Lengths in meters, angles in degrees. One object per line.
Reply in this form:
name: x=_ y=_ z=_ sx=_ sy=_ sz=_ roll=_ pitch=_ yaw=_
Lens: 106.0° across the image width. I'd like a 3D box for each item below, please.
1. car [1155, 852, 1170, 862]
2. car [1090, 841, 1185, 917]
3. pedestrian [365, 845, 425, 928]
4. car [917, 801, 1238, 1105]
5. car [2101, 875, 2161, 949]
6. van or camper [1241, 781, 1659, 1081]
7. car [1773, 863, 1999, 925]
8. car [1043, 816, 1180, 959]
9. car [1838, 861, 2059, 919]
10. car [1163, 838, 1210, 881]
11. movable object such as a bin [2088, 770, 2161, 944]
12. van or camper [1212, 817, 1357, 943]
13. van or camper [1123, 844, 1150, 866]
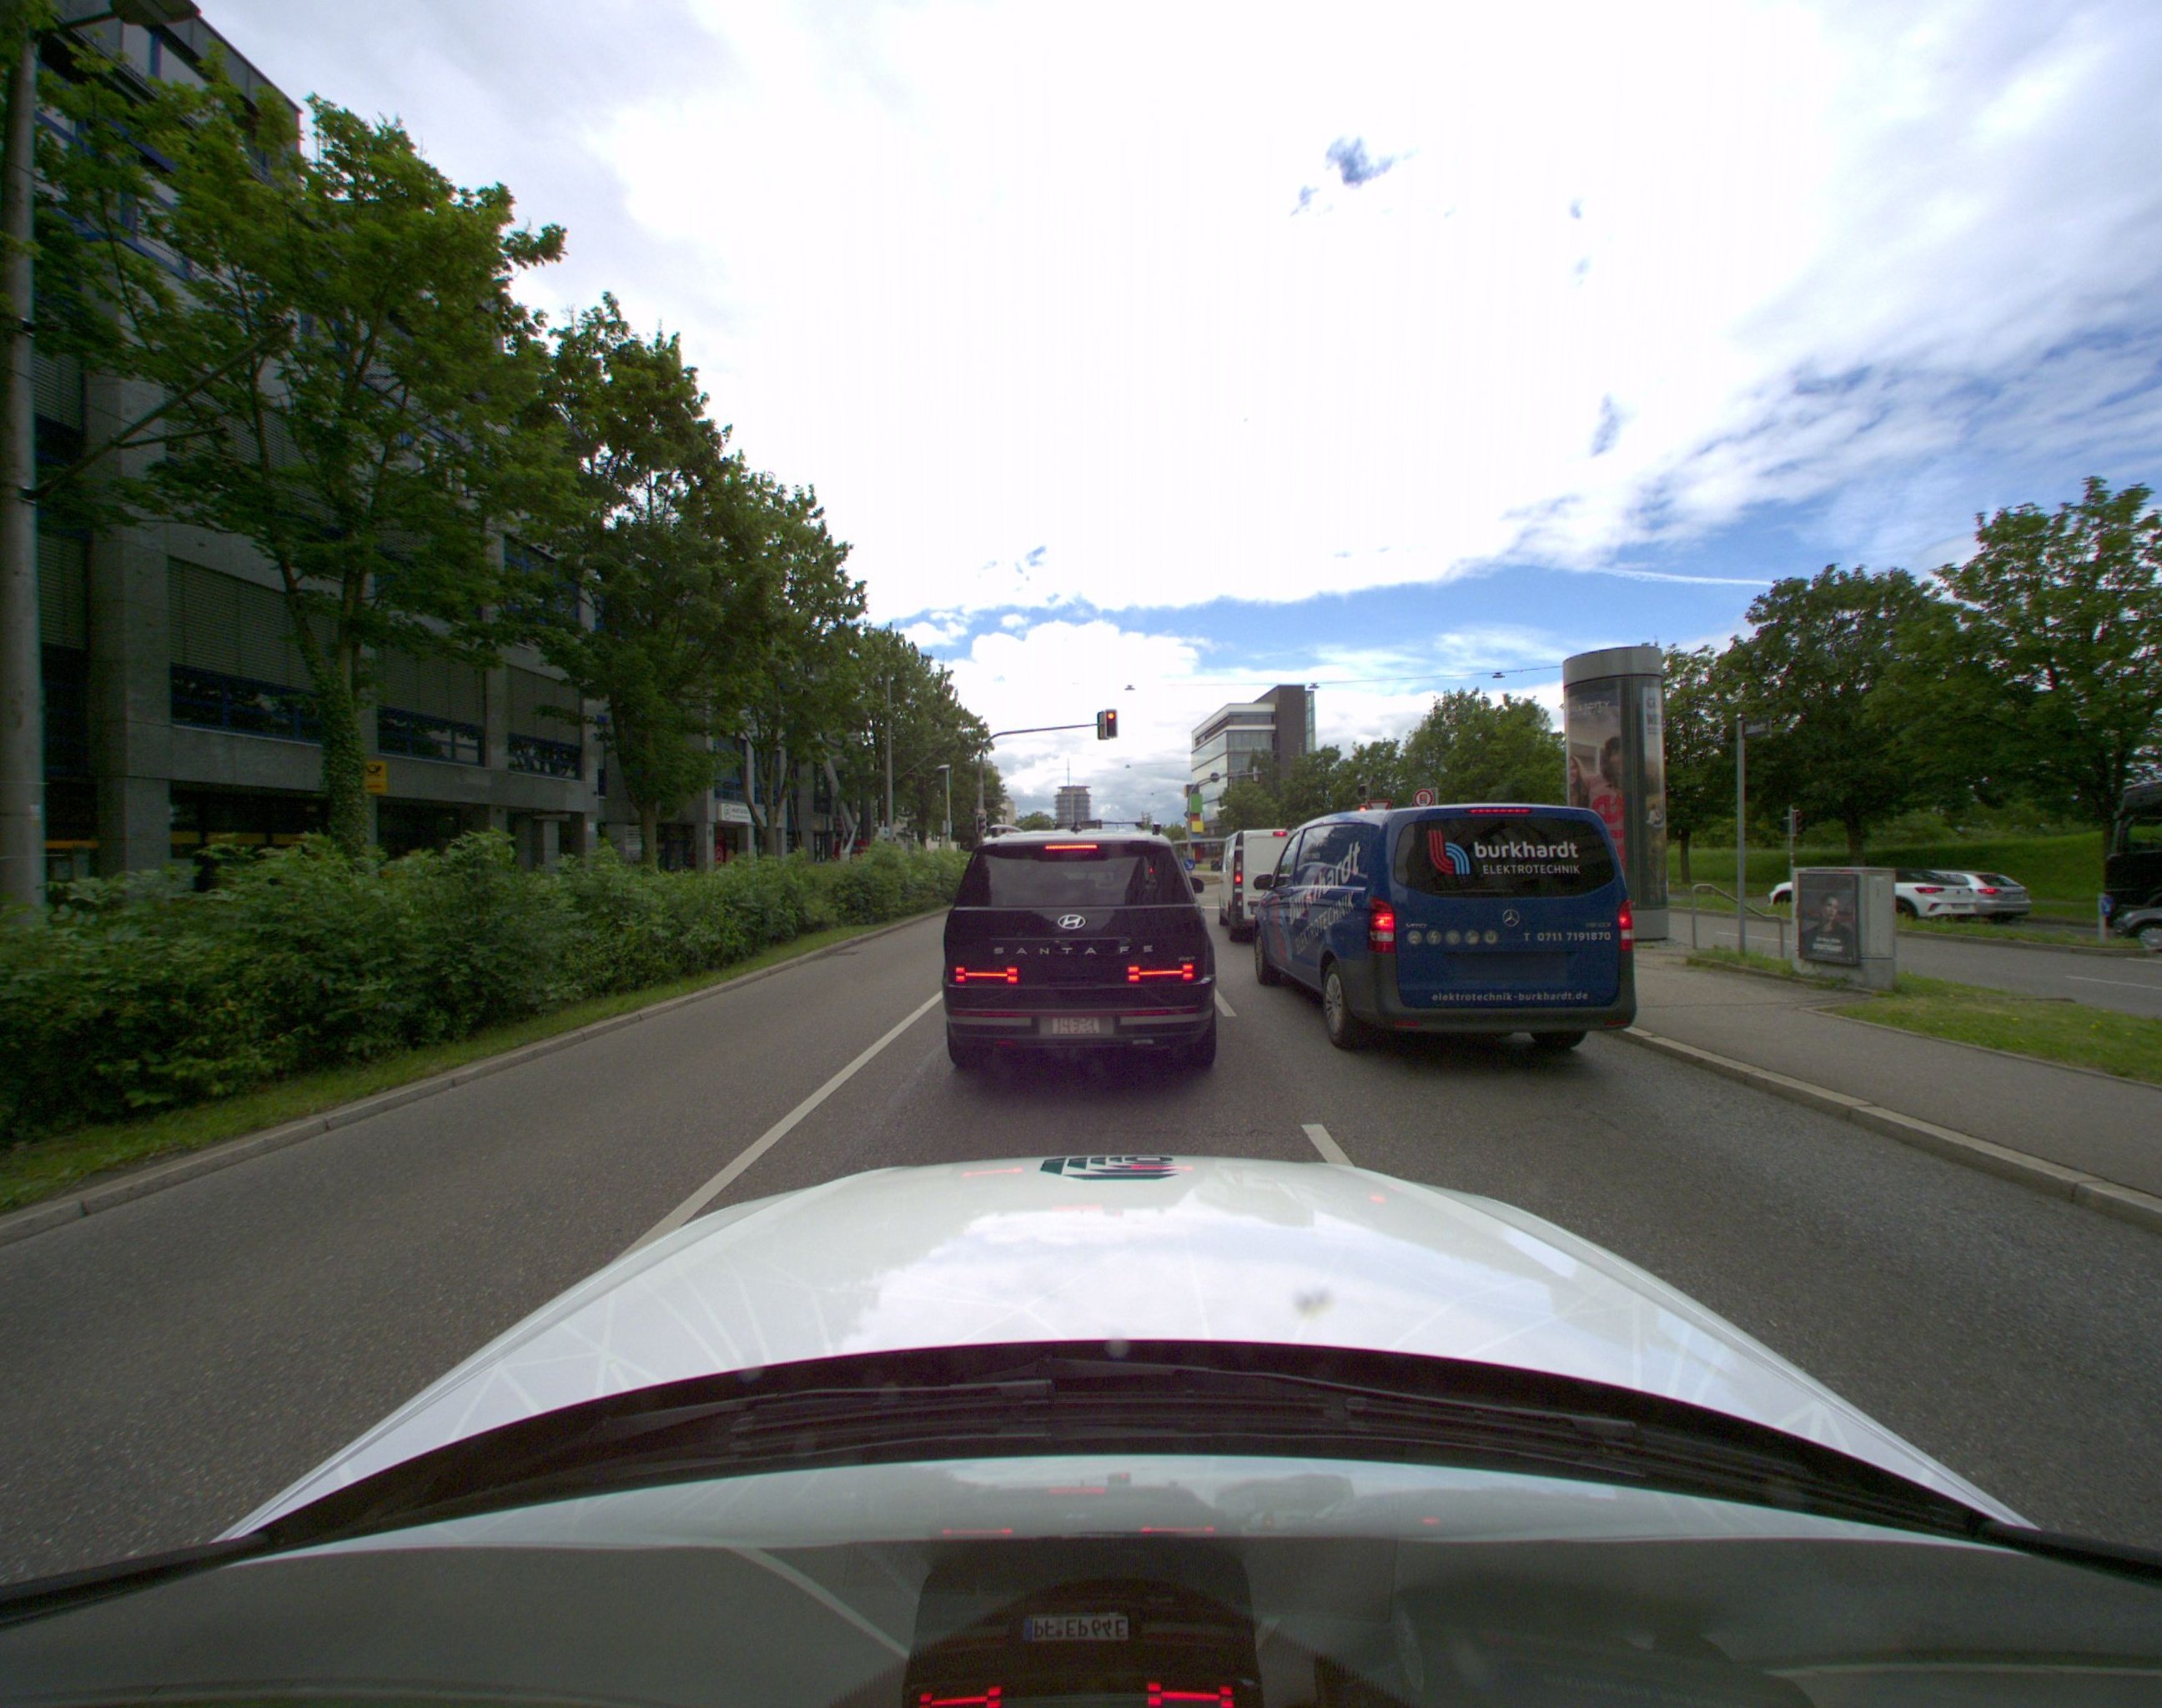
car: x=13.179 y=0.512 z=131.717 sx=1.987 sy=1.684 sz=3.998 roll=-1 pitch=-1 yaw=-1
car: x=1.542 y=0.589 z=20.518 sx=1.764 sy=1.717 sz=4.353 roll=-1 pitch=-1 yaw=12
pedestrian: x=-16.173 y=0.755 z=19.208 sx=0.771 sy=1.894 sz=0.731 roll=-1 pitch=-1 yaw=1
car: x=0.039 y=0.592 z=6.776 sx=1.862 sy=1.760 sz=3.881 roll=-1 pitch=0 yaw=2
car: x=23.009 y=1.216 z=15.529 sx=1.994 sy=1.453 sz=3.985 roll=1 pitch=0 yaw=-11
van or camper: x=2.898 y=0.505 z=7.835 sx=1.853 sy=1.911 sz=5.034 roll=-1 pitch=0 yaw=2
car: x=21.771 y=1.014 z=22.280 sx=1.994 sy=1.453 sz=3.985 roll=1 pitch=0 yaw=-11
car: x=0.497 y=0.483 z=13.581 sx=1.908 sy=2.003 sz=3.881 roll=-1 pitch=0 yaw=2
car: x=25.104 y=0.994 z=23.778 sx=1.994 sy=1.453 sz=3.985 roll=1 pitch=0 yaw=-11
car: x=5.170 y=0.271 z=40.373 sx=1.985 sy=2.014 sz=4.003 roll=-1 pitch=-1 yaw=3
movable object such as a bin: x=26.264 y=0.006 z=15.510 sx=2.860 sy=3.903 sz=8.536 roll=-1 pitch=-1 yaw=-11
van or camper: x=3.658 y=0.430 z=15.480 sx=1.984 sy=2.013 sz=4.659 roll=-1 pitch=0 yaw=5
van or camper: x=6.761 y=0.183 z=98.223 sx=1.979 sy=2.547 sz=6.603 roll=-1 pitch=-1 yaw=14
